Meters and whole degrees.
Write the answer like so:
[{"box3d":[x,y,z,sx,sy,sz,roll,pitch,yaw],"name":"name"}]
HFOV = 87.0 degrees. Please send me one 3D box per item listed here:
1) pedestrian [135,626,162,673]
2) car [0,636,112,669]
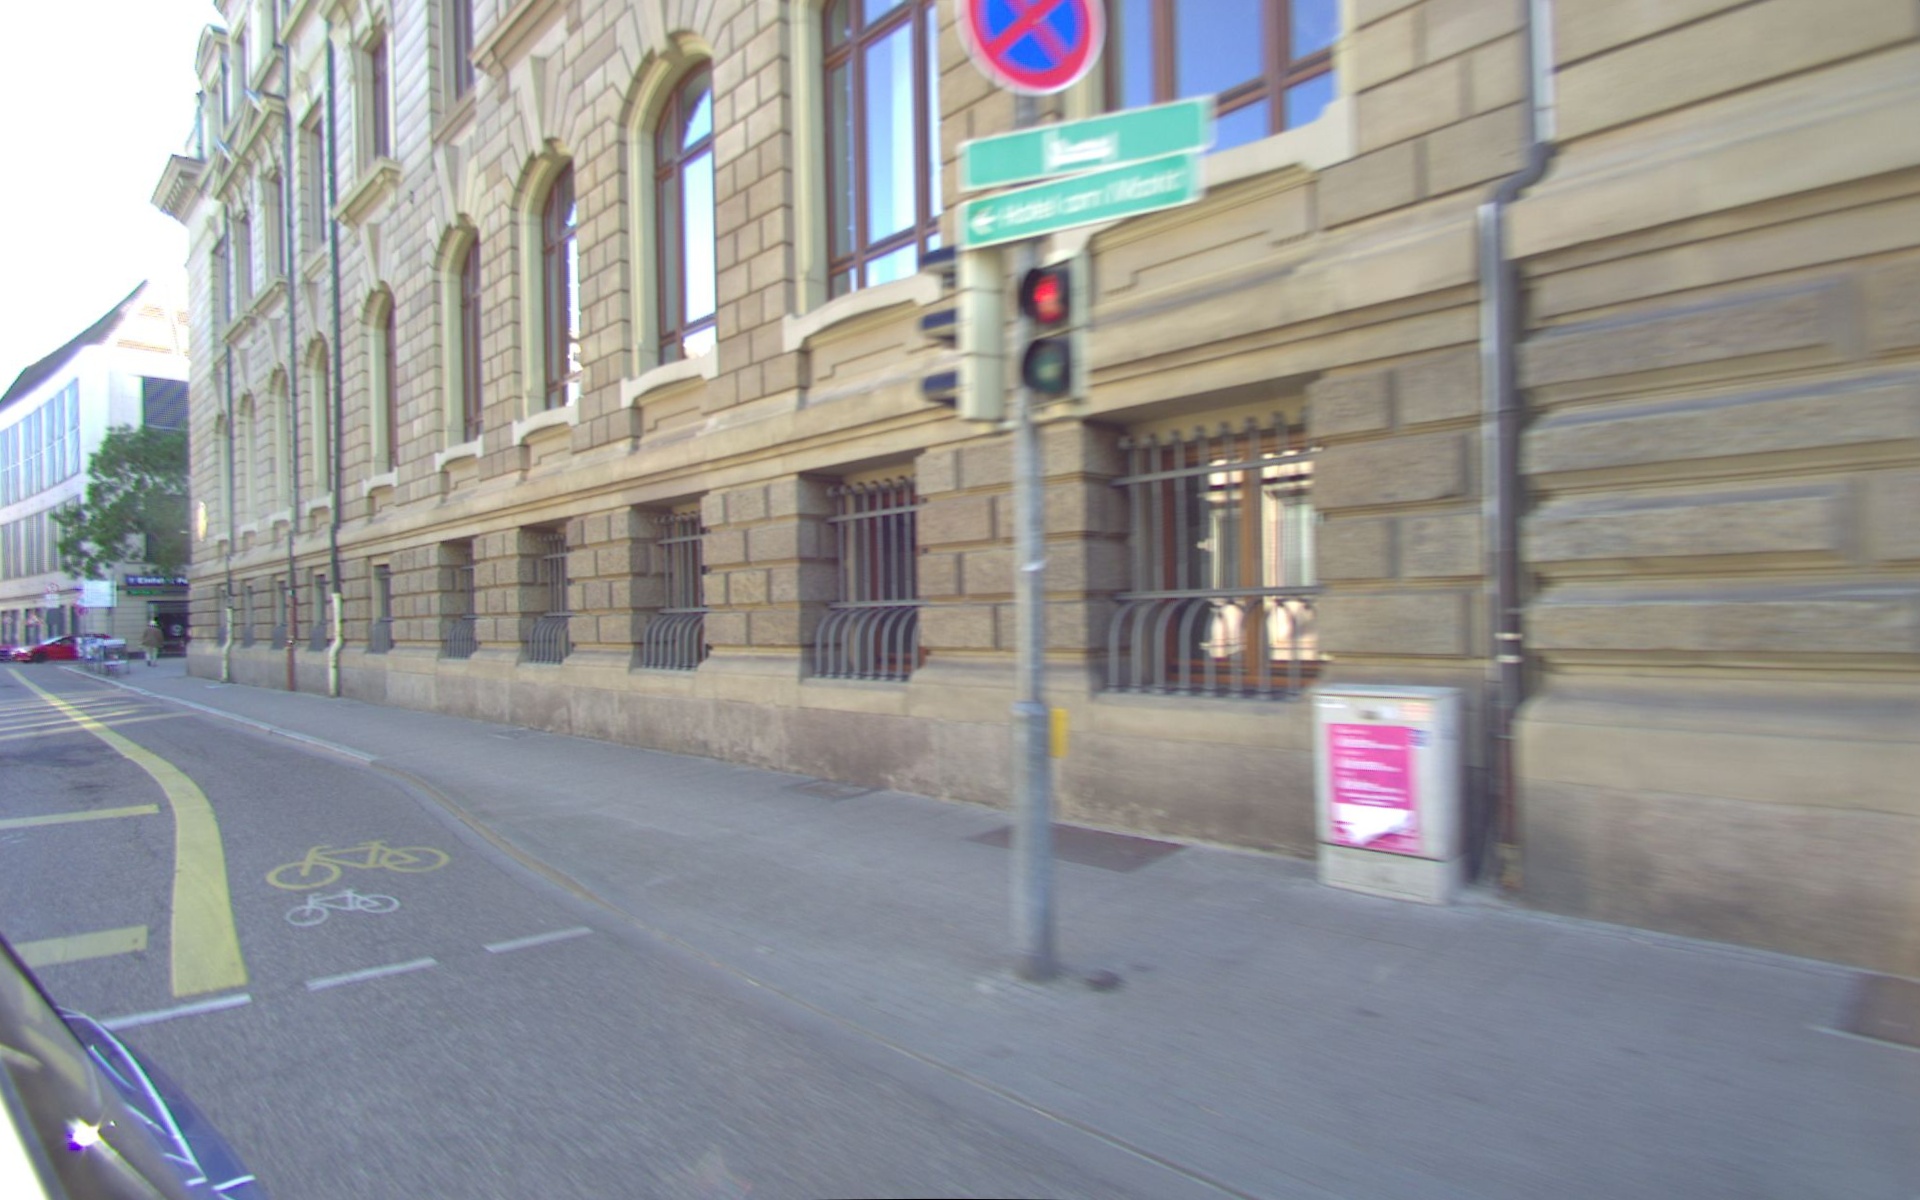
[{"box3d":[-32.093,1.940,40.020,0.754,1.793,0.623,-2,0,-44],"name":"pedestrian"},{"box3d":[-47.578,2.762,53.289,1.628,1.482,4.224,-2,-1,32],"name":"car"}]
